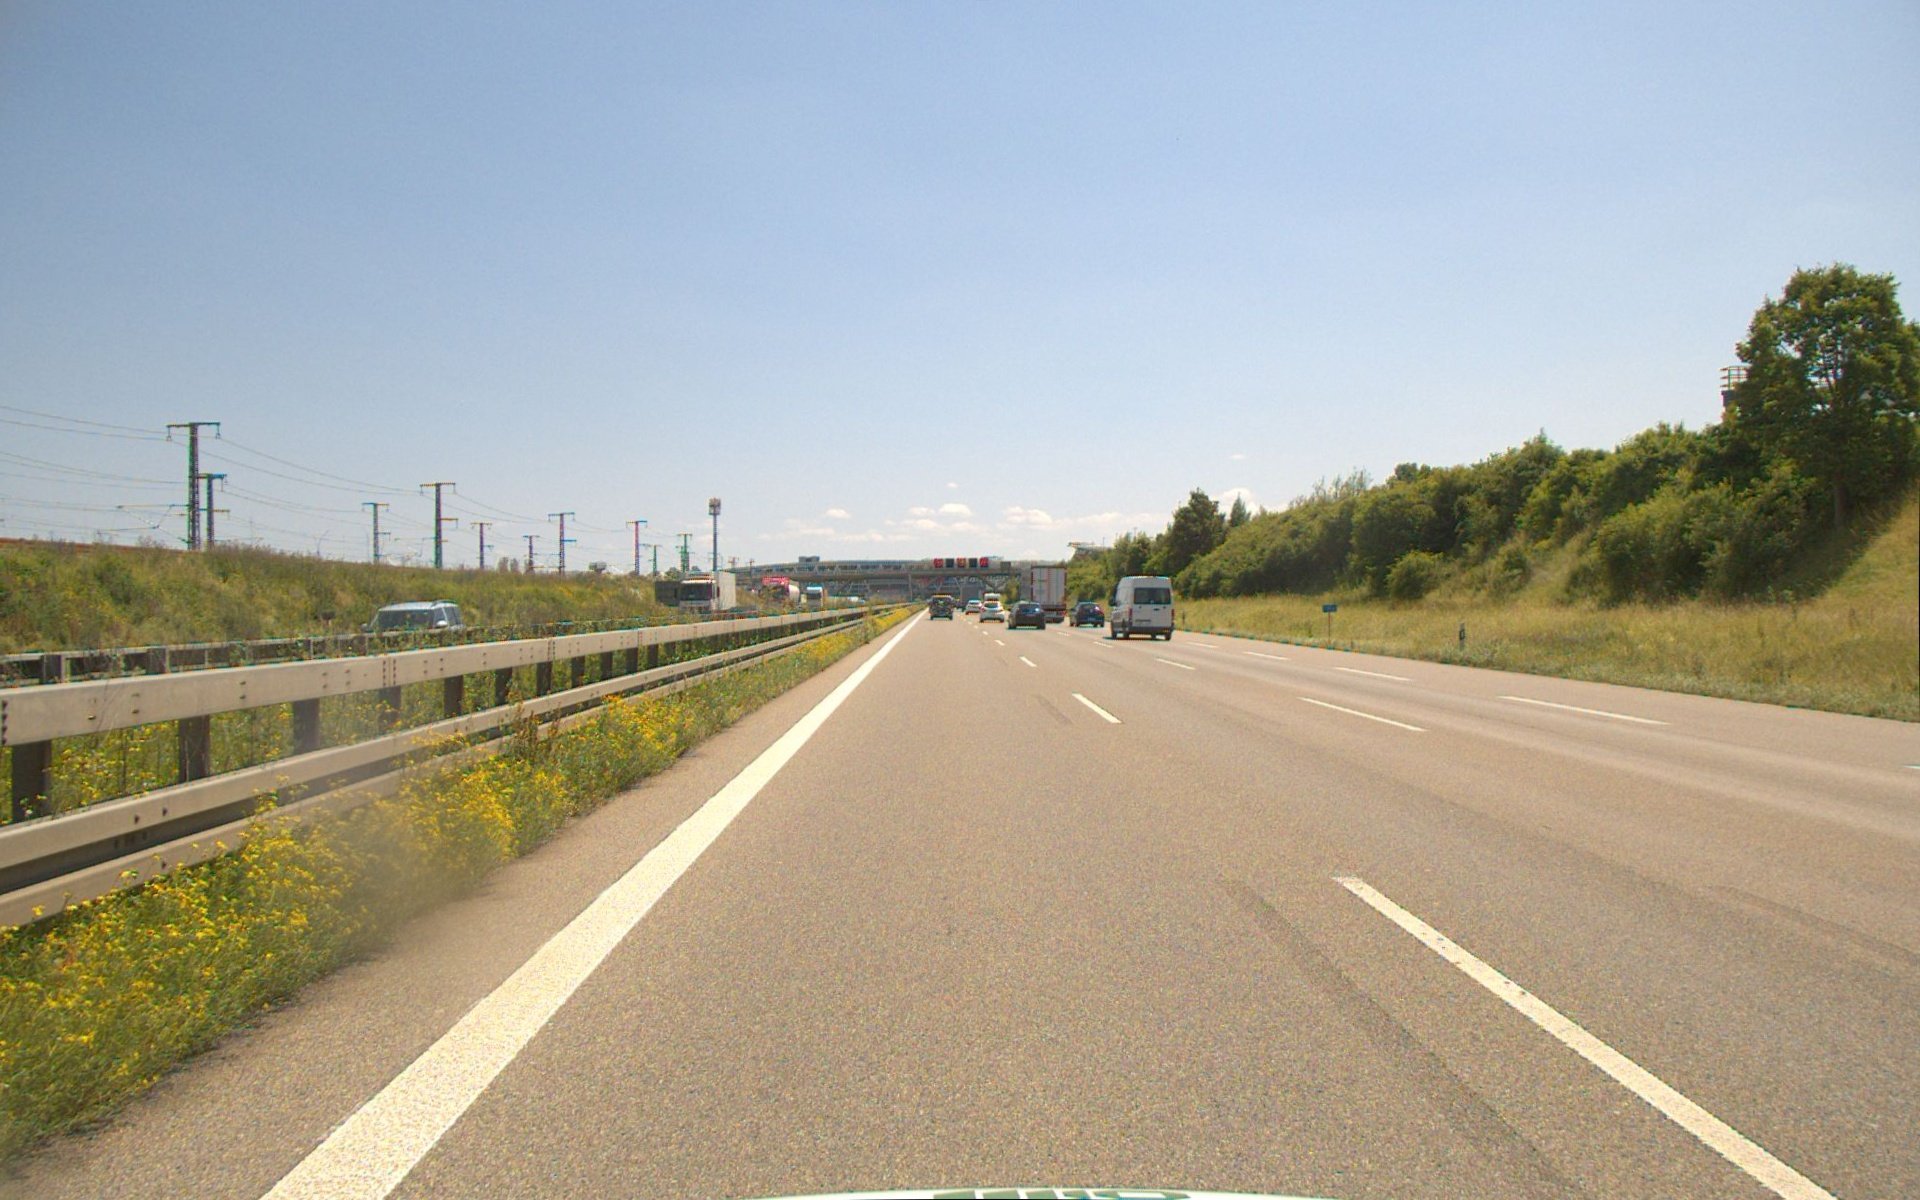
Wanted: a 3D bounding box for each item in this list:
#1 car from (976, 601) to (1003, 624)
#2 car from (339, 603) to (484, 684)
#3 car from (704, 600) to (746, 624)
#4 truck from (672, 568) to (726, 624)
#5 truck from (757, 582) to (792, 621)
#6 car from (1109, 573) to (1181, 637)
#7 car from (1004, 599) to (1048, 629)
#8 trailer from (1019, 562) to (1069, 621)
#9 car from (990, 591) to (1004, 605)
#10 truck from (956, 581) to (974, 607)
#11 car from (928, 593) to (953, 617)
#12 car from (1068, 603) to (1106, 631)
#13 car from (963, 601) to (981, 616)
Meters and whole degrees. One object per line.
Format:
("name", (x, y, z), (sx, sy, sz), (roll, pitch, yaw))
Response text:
("car", (2.101, 0.910, 116.955), (1.841, 1.553, 4.001), (1, -1, 2))
("car", (-12.666, 0.954, 38.513), (1.953, 1.765, 4.555), (0, 0, -2))
("car", (-13.969, 0.699, 98.408), (1.953, 1.329, 4.202), (-1, 0, -2))
("truck", (-17.022, -0.248, 107.981), (2.731, 3.447, 4.712), (2, 0, -1))
("truck", (-17.889, 0.143, 159.846), (2.731, 3.583, 4.712), (2, 0, -1))
("car", (7.721, 0.206, 69.551), (2.228, 2.572, 5.397), (0, 0, -2))
("car", (3.563, 0.762, 89.822), (1.954, 1.534, 3.997), (2, -1, -3))
("trailer", (6.106, -0.640, 121.673), (3.113, 4.130, 9.438), (-1, 0, -1))
("car", (5.565, -0.266, 247.943), (1.952, 2.049, 4.437), (0, 0, 1))
("truck", (0.671, -0.860, 227.218), (2.307, 3.476, 6.056), (0, 0, -1))
("car", (-1.512, 0.410, 127.329), (1.842, 1.806, 3.999), (0, -1, -1))
("car", (7.811, 1.074, 102.122), (1.953, 1.624, 3.998), (2, -1, -1))
("car", (1.284, 0.875, 177.262), (1.842, 1.553, 4.000), (1, -1, 0))
